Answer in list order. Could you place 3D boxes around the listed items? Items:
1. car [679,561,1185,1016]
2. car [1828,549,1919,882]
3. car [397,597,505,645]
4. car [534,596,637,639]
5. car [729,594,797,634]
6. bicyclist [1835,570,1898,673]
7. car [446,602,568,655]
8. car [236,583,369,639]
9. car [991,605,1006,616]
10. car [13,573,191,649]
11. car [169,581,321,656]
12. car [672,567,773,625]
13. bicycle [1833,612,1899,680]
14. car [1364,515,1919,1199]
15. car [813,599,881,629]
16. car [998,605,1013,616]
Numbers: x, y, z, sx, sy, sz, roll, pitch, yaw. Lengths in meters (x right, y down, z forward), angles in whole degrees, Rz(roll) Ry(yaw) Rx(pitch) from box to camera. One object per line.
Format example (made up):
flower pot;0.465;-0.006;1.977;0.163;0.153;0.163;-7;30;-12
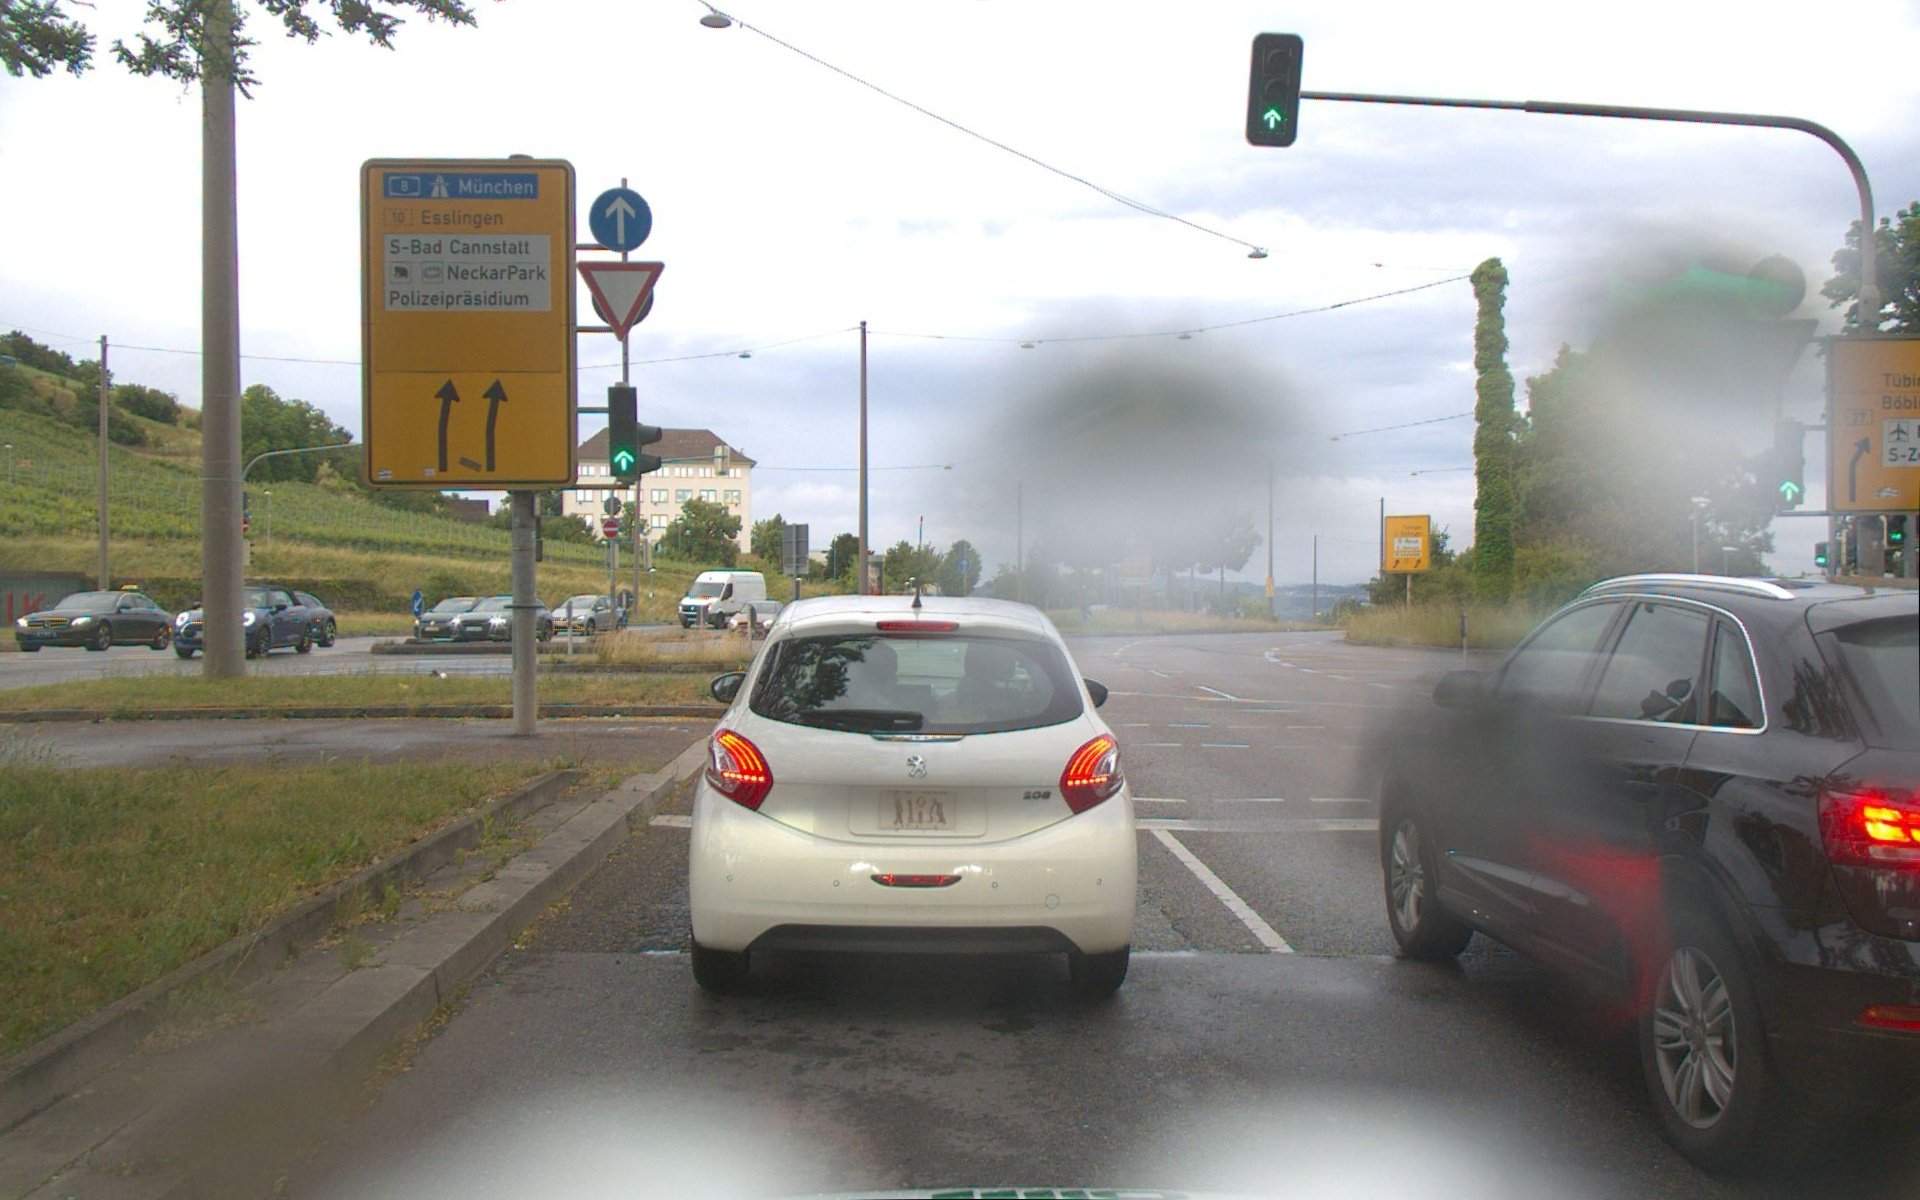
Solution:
car;-0.149;0.646;7.556;1.683;1.515;3.998;1;0;-2
car;5.884;0.625;7.034;1.828;1.703;4.563;1;1;-2
car;-17.039;0.677;55.647;1.785;1.498;4.672;0;1;6
car;-14.861;0.702;65.859;1.952;1.603;4.195;2;0;21
car;-7.304;0.518;61.659;1.738;1.450;4.376;0;-1;4
bicyclist;14.568;0.343;26.605;0.793;1.611;1.022;1;-1;26
car;-14.042;0.875;51.556;1.861;1.515;4.896;1;0;7
car;-17.470;0.249;44.193;1.787;1.386;4.667;0;1;-1
car;5.677;1.519;244.887;1.804;1.512;3.997;0;0;-3
car;-20.418;0.267;39.576;1.792;1.652;4.566;2;0;0
car;-14.686;0.402;34.177;1.752;1.420;3.876;1;-1;-6
car;-11.268;-0.145;79.010;1.953;2.604;6.169;2;-1;21
bicycle;14.631;0.727;26.758;0.793;1.040;2.326;-1;-1;26
car;2.864;0.671;5.621;1.846;1.623;4.112;2;0;-2
car;-6.232;0.783;91.743;1.954;1.539;4.229;2;0;25
car;6.453;1.490;236.522;1.804;1.512;3.997;0;0;-3
